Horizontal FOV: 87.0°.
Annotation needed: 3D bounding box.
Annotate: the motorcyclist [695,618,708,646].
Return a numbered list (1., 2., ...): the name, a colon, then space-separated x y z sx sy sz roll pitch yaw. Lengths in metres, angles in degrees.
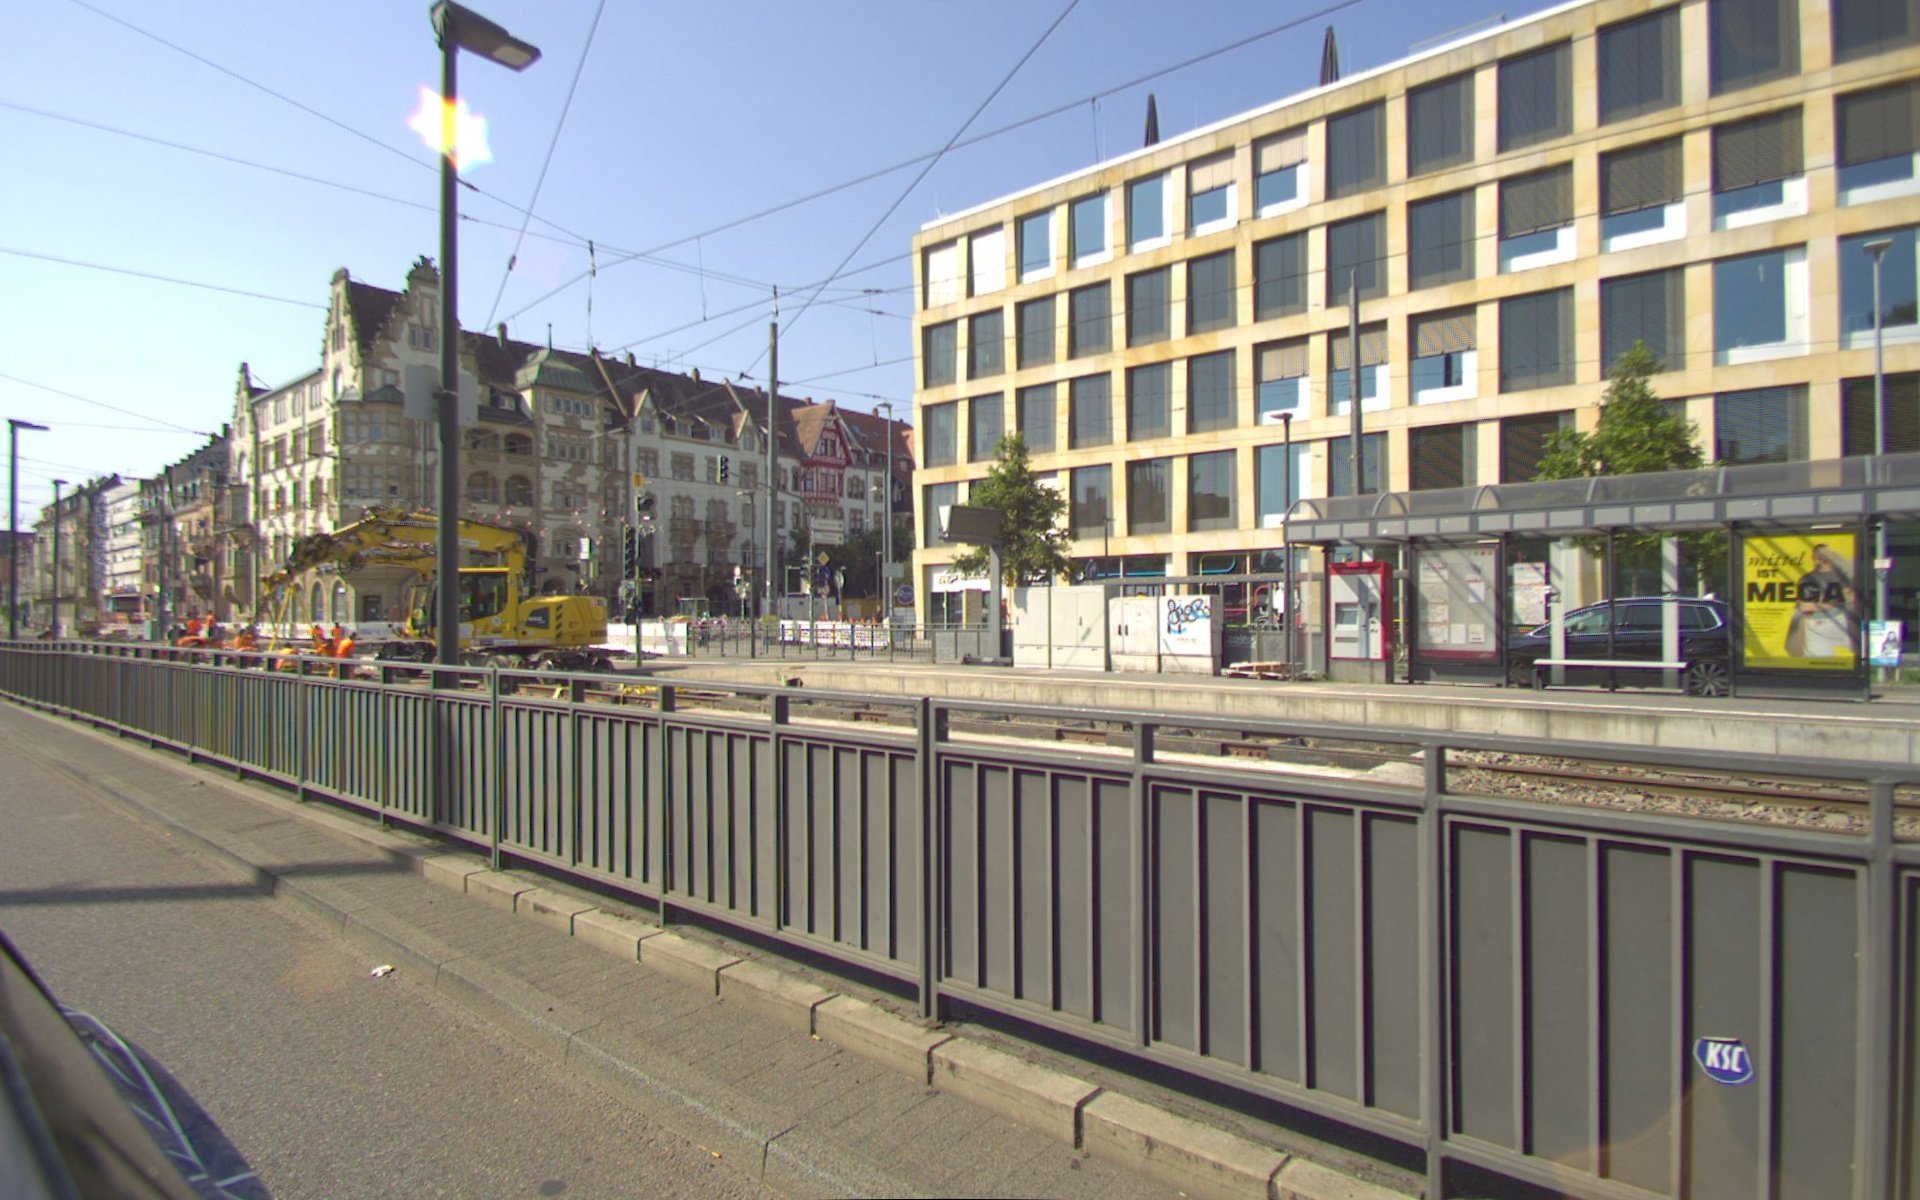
1. motorcyclist: -11.176 1.395 43.784 0.424 1.188 0.517 3 -3 -7

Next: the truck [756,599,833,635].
1. truck: -13.339 1.398 81.896 2.688 2.836 5.964 -2 -2 38

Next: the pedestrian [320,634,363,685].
1. pedestrian: -14.479 1.375 23.700 0.691 1.163 0.589 0 -2 -10

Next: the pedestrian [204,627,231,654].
1. pedestrian: -35.145 1.915 47.892 0.864 1.192 0.723 1 -3 33

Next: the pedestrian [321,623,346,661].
1. pedestrian: -28.253 1.884 45.644 0.758 1.715 0.731 -2 -2 39

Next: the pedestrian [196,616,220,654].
1. pedestrian: -34.752 1.601 46.788 0.678 1.715 0.743 -2 -2 40

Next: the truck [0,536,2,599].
1. truck: -29.989 0.275 27.949 8.982 3.817 2.787 -1 -2 31

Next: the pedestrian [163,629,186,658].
1. pedestrian: -34.332 1.886 44.248 0.547 1.256 0.669 -2 -2 39

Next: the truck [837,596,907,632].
1. truck: -7.675 1.228 89.081 2.627 3.067 6.277 -2 -2 37

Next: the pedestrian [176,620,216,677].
1. pedestrian: -20.382 1.275 27.005 0.730 1.490 0.705 0 -2 -28

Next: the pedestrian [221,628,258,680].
1. pedestrian: -18.858 1.403 26.510 0.691 1.345 0.839 0 -2 -29

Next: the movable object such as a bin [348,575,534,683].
1. movable object such as a bin: -16.749 0.944 32.863 3.548 3.247 4.090 -1 -2 25

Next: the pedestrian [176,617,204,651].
1. pedestrian: -35.845 1.596 47.099 0.727 1.568 0.753 0 -1 -2

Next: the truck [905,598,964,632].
1. truck: -2.380 1.437 96.171 2.235 3.067 6.277 -2 -2 37

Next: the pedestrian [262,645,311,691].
1. pedestrian: -14.632 1.467 21.986 0.881 0.962 0.693 -2 -2 41

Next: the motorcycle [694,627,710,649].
1. motorcycle: -11.171 1.647 43.803 0.424 0.885 1.637 3 -3 -7

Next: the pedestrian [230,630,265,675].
1. pedestrian: -19.236 1.405 27.352 0.691 1.186 0.704 0 -2 -29

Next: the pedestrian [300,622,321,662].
1. pedestrian: -28.949 1.862 45.099 0.728 1.715 0.761 0 -2 -31

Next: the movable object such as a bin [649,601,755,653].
1. movable object such as a bin: -14.699 1.460 57.863 2.489 2.810 5.445 0 0 41

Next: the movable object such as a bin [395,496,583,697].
1. movable object such as a bin: -11.952 -0.009 25.603 4.211 4.589 2.954 -2 -2 43

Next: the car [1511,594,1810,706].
1. car: 11.089 0.752 16.155 3.757 1.583 1.644 -2 -2 41
